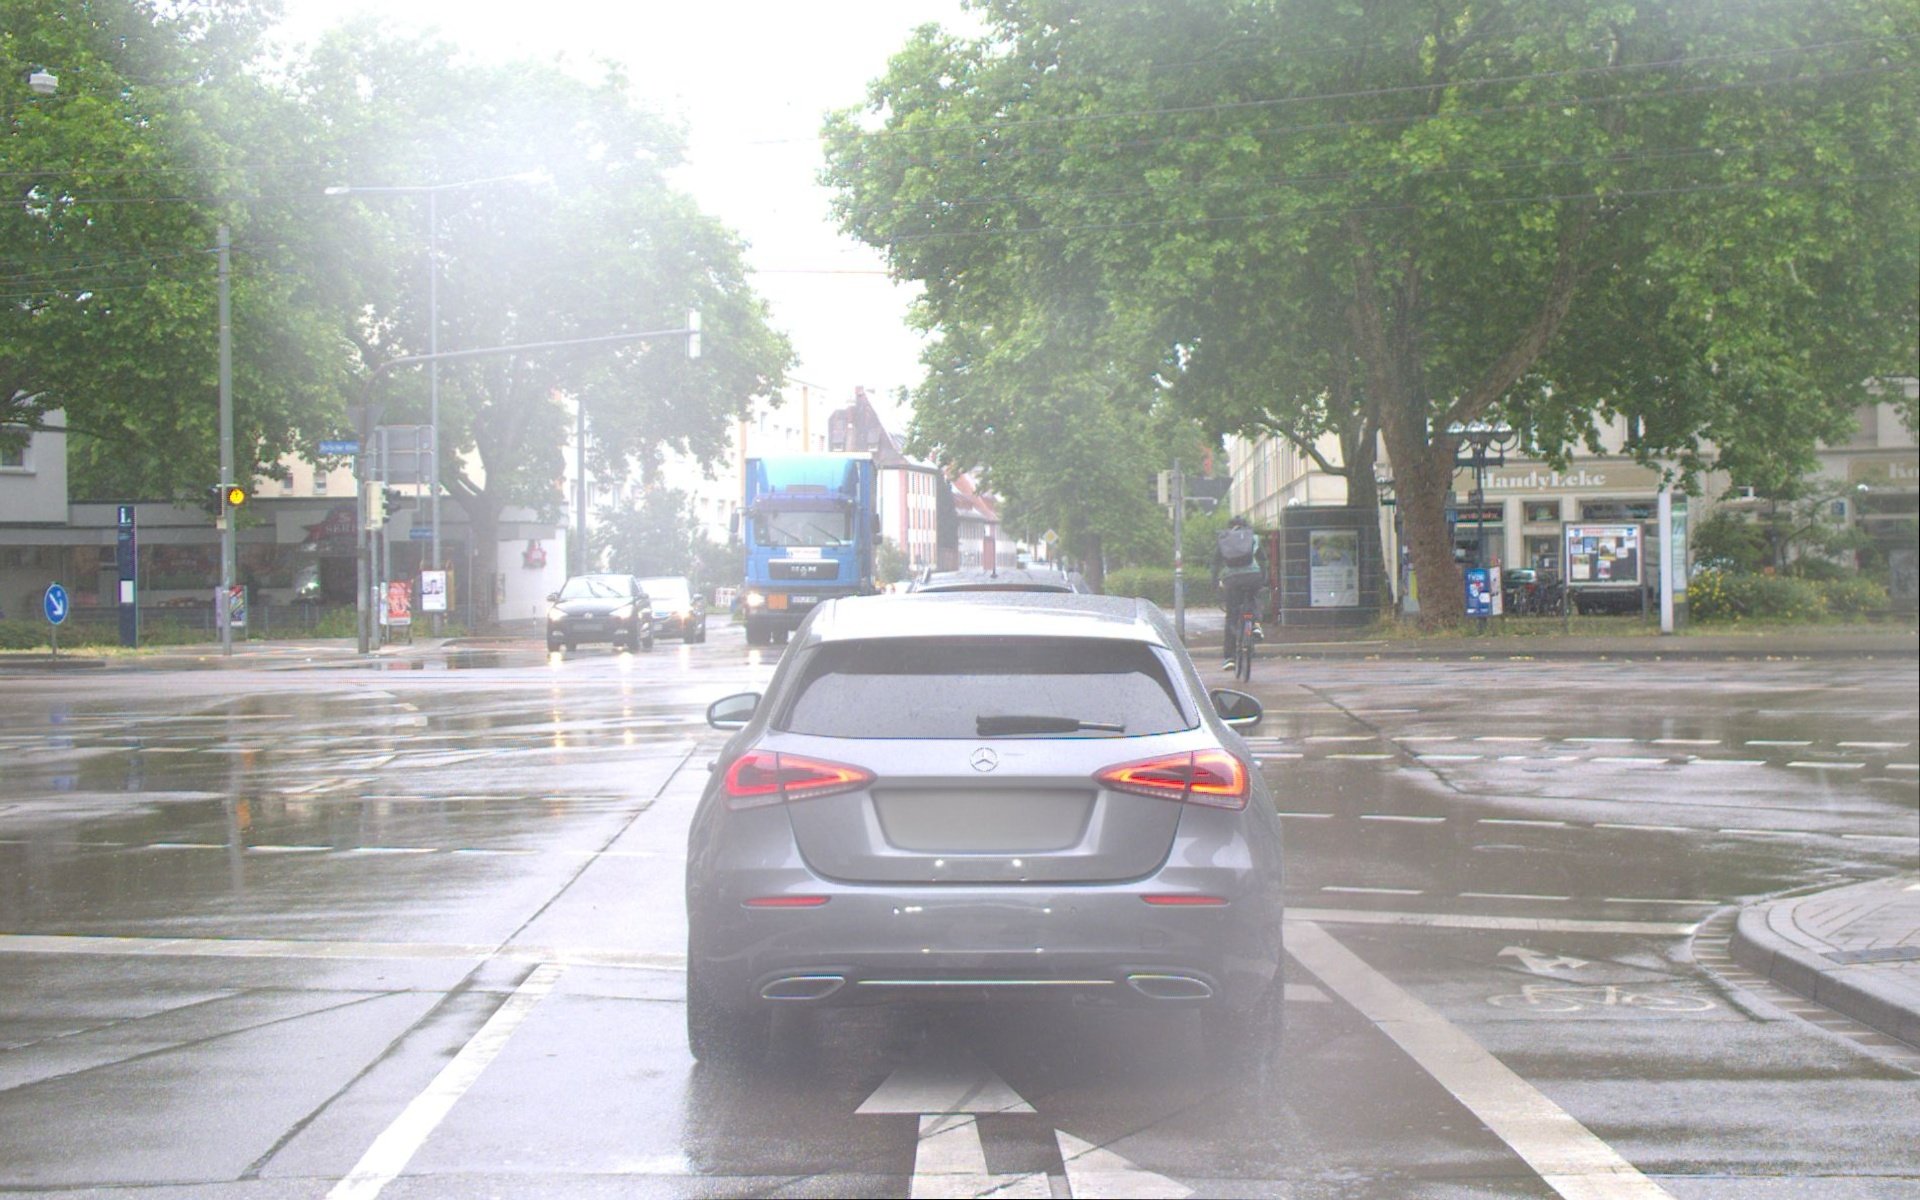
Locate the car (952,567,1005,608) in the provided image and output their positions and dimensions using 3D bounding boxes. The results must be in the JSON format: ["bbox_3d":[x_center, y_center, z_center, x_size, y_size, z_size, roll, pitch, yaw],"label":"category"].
[{"bbox_3d":[0.732,-0.499,139.146,1.993,1.568,4.000,-1,0,-1],"label":"car"}]

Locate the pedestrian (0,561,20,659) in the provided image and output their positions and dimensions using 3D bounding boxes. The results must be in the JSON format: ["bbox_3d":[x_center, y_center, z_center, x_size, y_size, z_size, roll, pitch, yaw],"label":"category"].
[{"bbox_3d":[-16.513,0.178,58.192,0.835,1.643,0.755,-2,0,15],"label":"pedestrian"}]

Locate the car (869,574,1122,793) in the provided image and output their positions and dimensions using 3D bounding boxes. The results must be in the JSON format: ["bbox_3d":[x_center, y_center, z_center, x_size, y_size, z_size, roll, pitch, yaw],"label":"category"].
[{"bbox_3d":[0.214,0.530,24.412,1.607,1.368,4.000,-2,1,0],"label":"car"}]

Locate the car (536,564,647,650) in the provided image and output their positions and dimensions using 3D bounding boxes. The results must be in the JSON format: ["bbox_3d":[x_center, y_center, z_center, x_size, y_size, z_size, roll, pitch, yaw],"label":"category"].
[{"bbox_3d":[-7.007,0.113,65.694,1.743,1.541,3.779,-2,0,-1],"label":"car"}]

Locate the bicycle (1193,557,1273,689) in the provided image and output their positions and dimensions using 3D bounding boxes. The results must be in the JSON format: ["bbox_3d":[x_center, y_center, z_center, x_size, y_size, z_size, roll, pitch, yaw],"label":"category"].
[{"bbox_3d":[3.010,0.232,37.679,0.749,1.372,2.706,-2,1,6],"label":"bicycle"}]

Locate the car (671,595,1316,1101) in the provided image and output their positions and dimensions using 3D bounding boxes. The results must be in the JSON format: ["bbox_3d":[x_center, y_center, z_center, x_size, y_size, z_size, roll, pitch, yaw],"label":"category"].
[{"bbox_3d":[0.077,0.691,11.359,1.791,1.368,3.507,0,1,-1],"label":"car"}]

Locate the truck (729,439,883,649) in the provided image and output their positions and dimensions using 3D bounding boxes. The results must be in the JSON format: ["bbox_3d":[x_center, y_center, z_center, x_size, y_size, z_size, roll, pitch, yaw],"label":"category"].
[{"bbox_3d":[-3.118,-1.142,72.231,2.845,4.011,10.317,-2,1,-1],"label":"truck"}]

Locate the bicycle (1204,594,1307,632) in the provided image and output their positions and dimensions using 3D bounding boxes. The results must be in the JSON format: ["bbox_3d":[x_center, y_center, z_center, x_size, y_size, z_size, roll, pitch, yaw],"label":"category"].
[{"bbox_3d":[9.775,0.434,113.664,3.205,1.108,1.054,-1,-4,-18],"label":"bicycle"}]

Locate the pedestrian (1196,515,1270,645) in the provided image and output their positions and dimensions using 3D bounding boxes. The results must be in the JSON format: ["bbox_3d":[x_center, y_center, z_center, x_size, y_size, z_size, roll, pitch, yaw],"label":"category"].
[{"bbox_3d":[3.007,-0.224,37.787,0.744,1.393,1.047,-2,0,6],"label":"pedestrian"}]

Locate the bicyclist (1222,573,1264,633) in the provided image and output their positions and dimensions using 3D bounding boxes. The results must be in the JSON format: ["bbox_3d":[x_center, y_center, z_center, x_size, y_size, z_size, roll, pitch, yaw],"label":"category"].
[{"bbox_3d":[9.351,0.103,113.494,0.938,1.862,1.143,-1,-4,-18],"label":"bicyclist"}]

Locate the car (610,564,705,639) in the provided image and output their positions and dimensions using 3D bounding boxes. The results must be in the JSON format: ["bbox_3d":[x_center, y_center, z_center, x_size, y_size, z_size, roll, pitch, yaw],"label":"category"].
[{"bbox_3d":[-6.578,0.014,75.154,1.726,1.541,4.340,-2,1,-1],"label":"car"}]

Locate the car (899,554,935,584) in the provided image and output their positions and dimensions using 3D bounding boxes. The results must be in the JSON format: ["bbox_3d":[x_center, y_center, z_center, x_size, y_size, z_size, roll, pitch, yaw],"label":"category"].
[{"bbox_3d":[-2.683,-1.940,214.892,1.890,1.830,4.000,-1,0,3],"label":"car"}]
